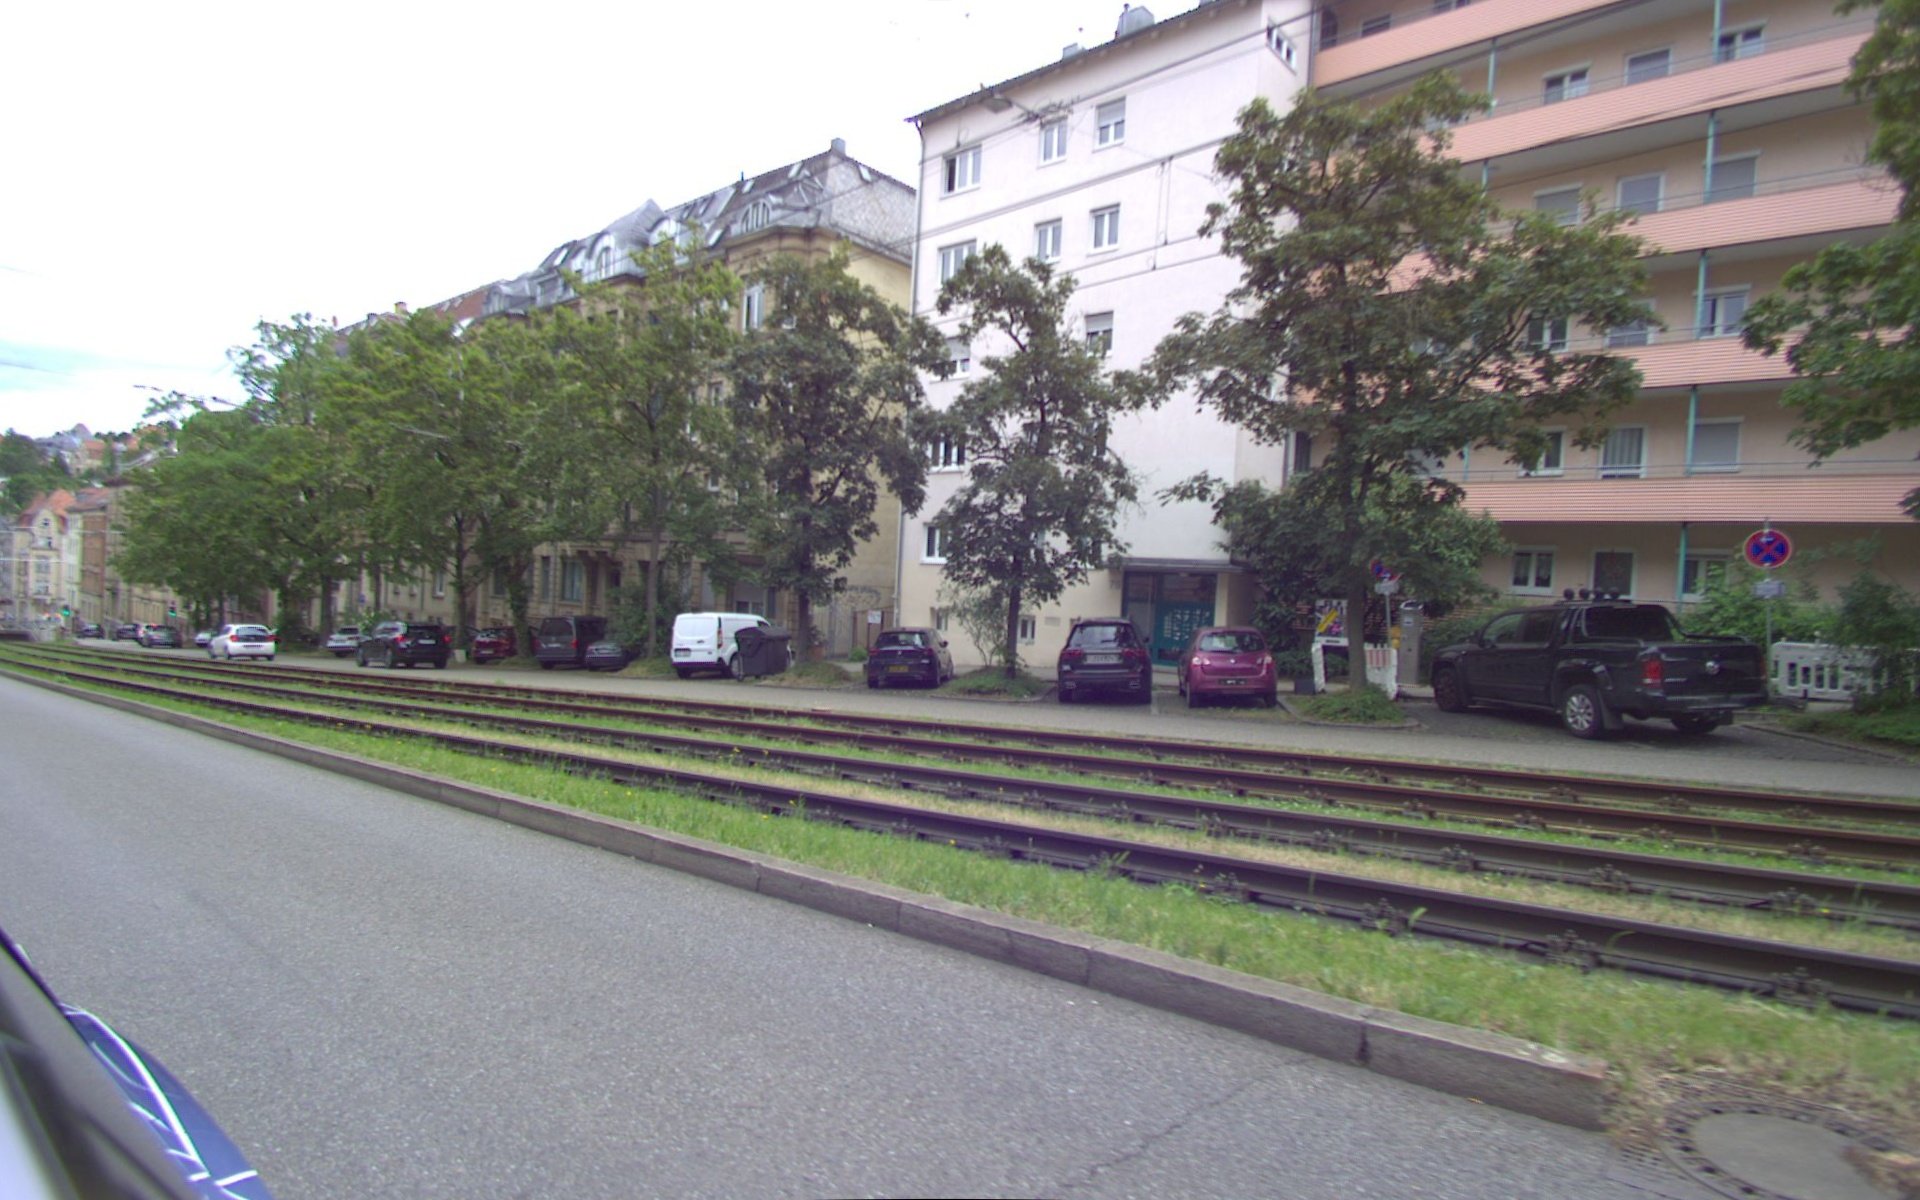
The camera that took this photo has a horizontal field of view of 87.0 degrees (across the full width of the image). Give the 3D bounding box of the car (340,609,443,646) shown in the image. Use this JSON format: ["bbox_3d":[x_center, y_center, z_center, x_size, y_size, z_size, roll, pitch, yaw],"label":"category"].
[{"bbox_3d":[-25.624,1.267,45.802,1.851,1.585,4.179,0,-2,9],"label":"car"}]

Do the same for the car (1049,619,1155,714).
[{"bbox_3d":[2.942,1.277,21.061,1.914,1.695,4.596,-1,-1,8],"label":"car"}]

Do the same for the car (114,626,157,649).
[{"bbox_3d":[-61.395,2.795,75.301,4.344,1.629,1.761,-2,-4,42],"label":"car"}]

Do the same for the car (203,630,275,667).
[{"bbox_3d":[-29.034,1.955,40.732,3.410,1.446,1.571,-2,-4,41],"label":"car"}]

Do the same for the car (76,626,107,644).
[{"bbox_3d":[-88.106,3.559,102.684,4.471,1.663,1.859,-2,-5,44],"label":"car"}]

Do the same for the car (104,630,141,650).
[{"bbox_3d":[-73.076,3.460,88.295,4.241,1.669,1.761,-2,-4,42],"label":"car"}]

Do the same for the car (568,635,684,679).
[{"bbox_3d":[-10.981,1.849,33.597,1.852,1.350,4.176,0,-2,11],"label":"car"}]

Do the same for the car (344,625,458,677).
[{"bbox_3d":[-19.189,1.731,34.667,4.605,1.663,1.897,-2,-4,41],"label":"car"}]

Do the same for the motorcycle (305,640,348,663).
[{"bbox_3d":[-32.241,2.609,51.526,0.618,1.066,2.201,0,-1,7],"label":"motorcycle"}]

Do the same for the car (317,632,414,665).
[{"bbox_3d":[-28.292,2.332,48.332,1.766,1.481,4.142,0,-3,9],"label":"car"}]

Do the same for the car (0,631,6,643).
[{"bbox_3d":[-130.487,5.021,136.891,4.471,1.663,1.859,-2,-5,44],"label":"car"}]

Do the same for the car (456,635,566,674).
[{"bbox_3d":[-17.441,2.103,39.554,1.852,1.446,4.176,0,-2,11],"label":"car"}]

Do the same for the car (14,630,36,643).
[{"bbox_3d":[-131.081,5.112,141.895,4.471,1.663,1.859,-2,-5,44],"label":"car"}]

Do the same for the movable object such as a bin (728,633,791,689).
[{"bbox_3d":[-5.252,1.578,26.552,1.090,1.411,1.267,-1,-1,26],"label":"movable object such as a bin"}]

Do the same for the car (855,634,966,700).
[{"bbox_3d":[-1.122,1.599,25.165,1.914,1.355,4.596,-1,-1,8],"label":"car"}]

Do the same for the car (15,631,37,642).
[{"bbox_3d":[-120.491,4.738,130.560,4.749,1.439,1.729,-2,-4,43],"label":"car"}]

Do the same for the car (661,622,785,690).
[{"bbox_3d":[-6.841,1.596,29.686,1.854,1.850,4.171,-1,-2,14],"label":"car"}]

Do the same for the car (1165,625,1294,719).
[{"bbox_3d":[5.213,1.332,20.160,1.914,1.560,4.596,-1,-1,8],"label":"car"}]

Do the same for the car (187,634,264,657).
[{"bbox_3d":[-48.455,2.967,66.860,1.766,1.433,3.987,0,-2,10],"label":"car"}]

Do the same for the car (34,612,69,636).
[{"bbox_3d":[-110.606,2.955,123.131,6.516,2.720,2.366,-2,-4,42],"label":"car"}]

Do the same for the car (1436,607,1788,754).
[{"bbox_3d":[9.323,1.038,15.072,1.906,1.811,4.613,-1,-1,-5],"label":"car"}]

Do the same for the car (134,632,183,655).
[{"bbox_3d":[-51.647,2.796,65.188,4.596,1.421,1.706,-2,-4,42],"label":"car"}]

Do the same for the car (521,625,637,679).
[{"bbox_3d":[-13.186,1.776,35.329,1.852,1.781,4.176,0,-2,11],"label":"car"}]
